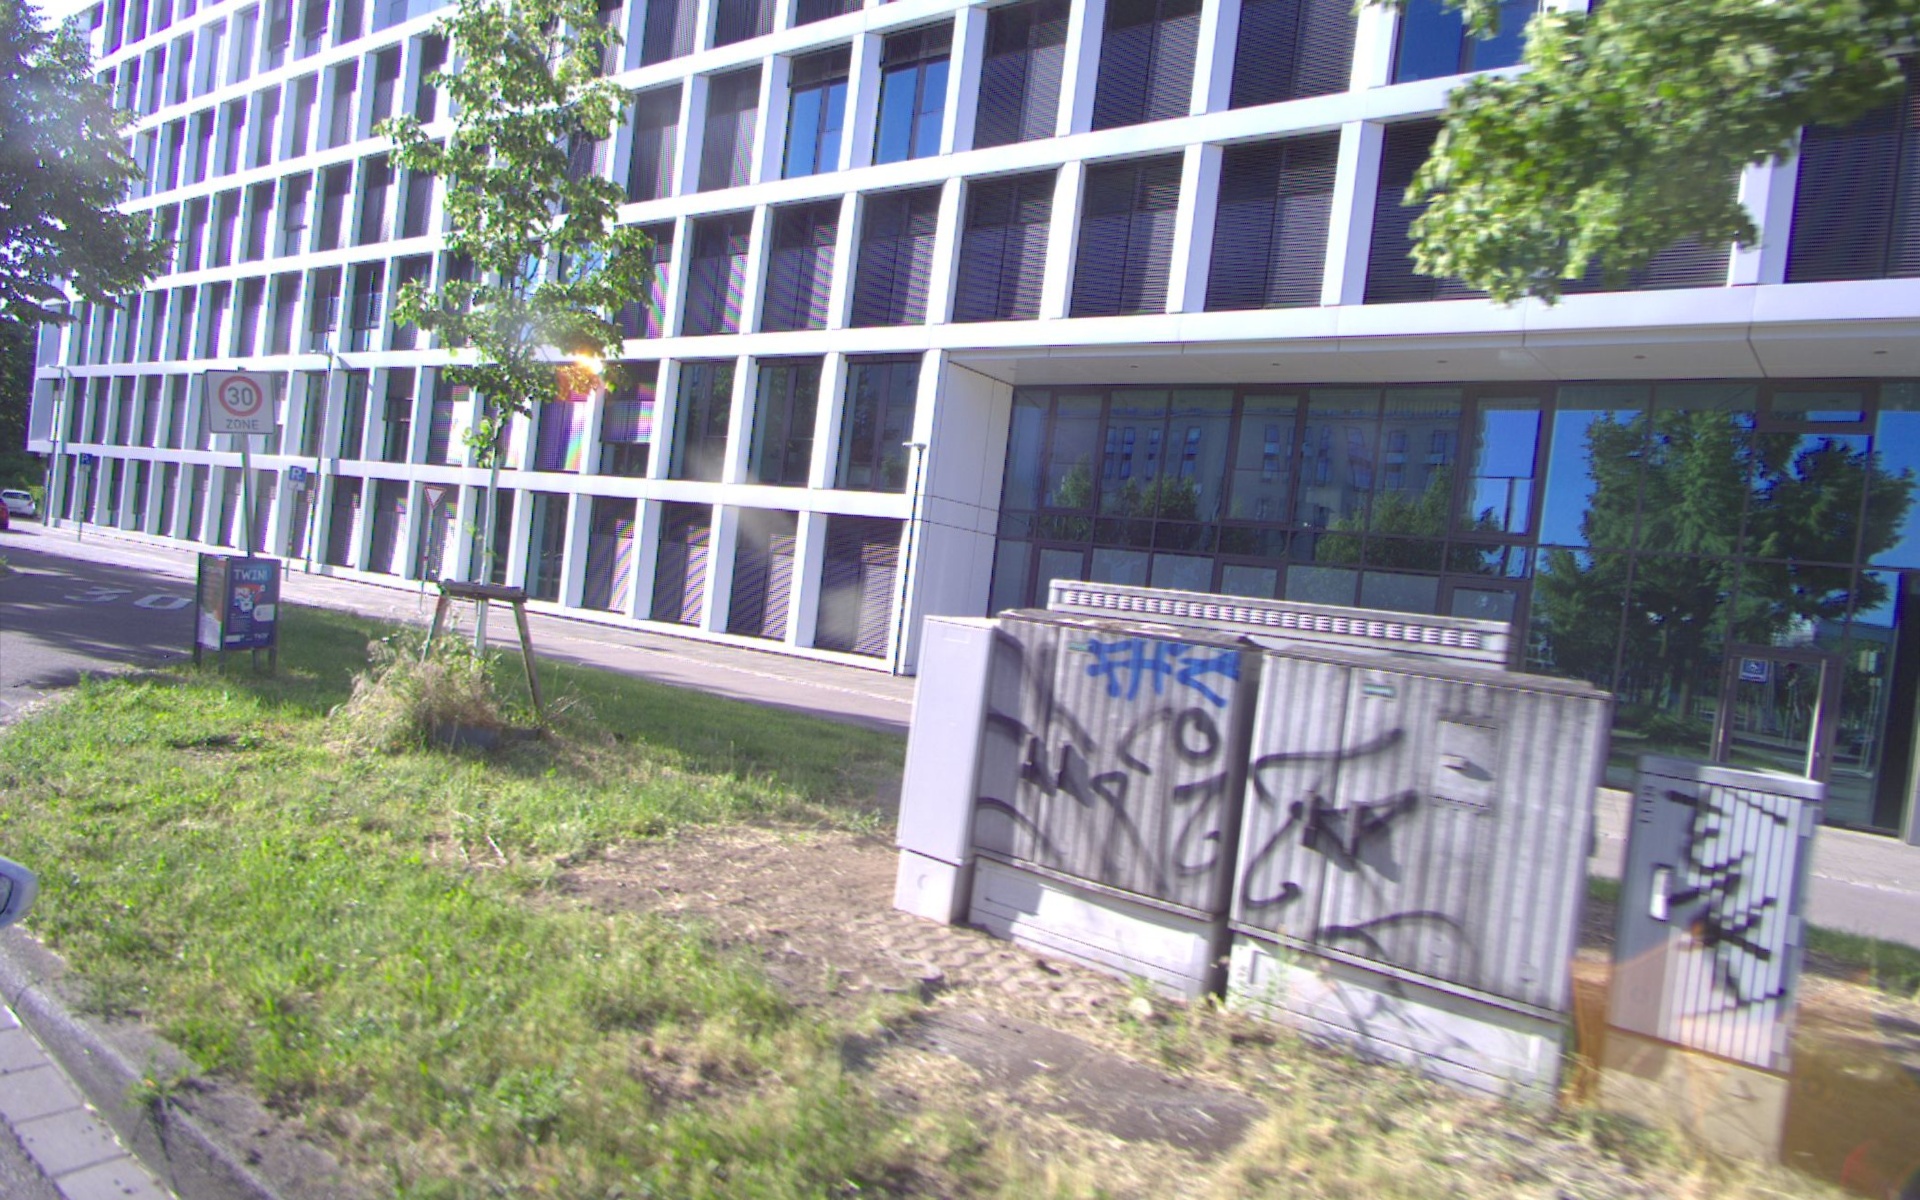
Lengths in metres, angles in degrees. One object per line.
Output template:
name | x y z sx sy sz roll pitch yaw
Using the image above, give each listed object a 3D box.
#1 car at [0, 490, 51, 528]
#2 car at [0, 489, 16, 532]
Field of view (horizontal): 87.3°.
car | -55.338 -5.385 59.006 3.936 1.837 1.996 7 -1 34
car | -39.413 -3.744 40.052 3.840 1.631 1.759 7 0 34
